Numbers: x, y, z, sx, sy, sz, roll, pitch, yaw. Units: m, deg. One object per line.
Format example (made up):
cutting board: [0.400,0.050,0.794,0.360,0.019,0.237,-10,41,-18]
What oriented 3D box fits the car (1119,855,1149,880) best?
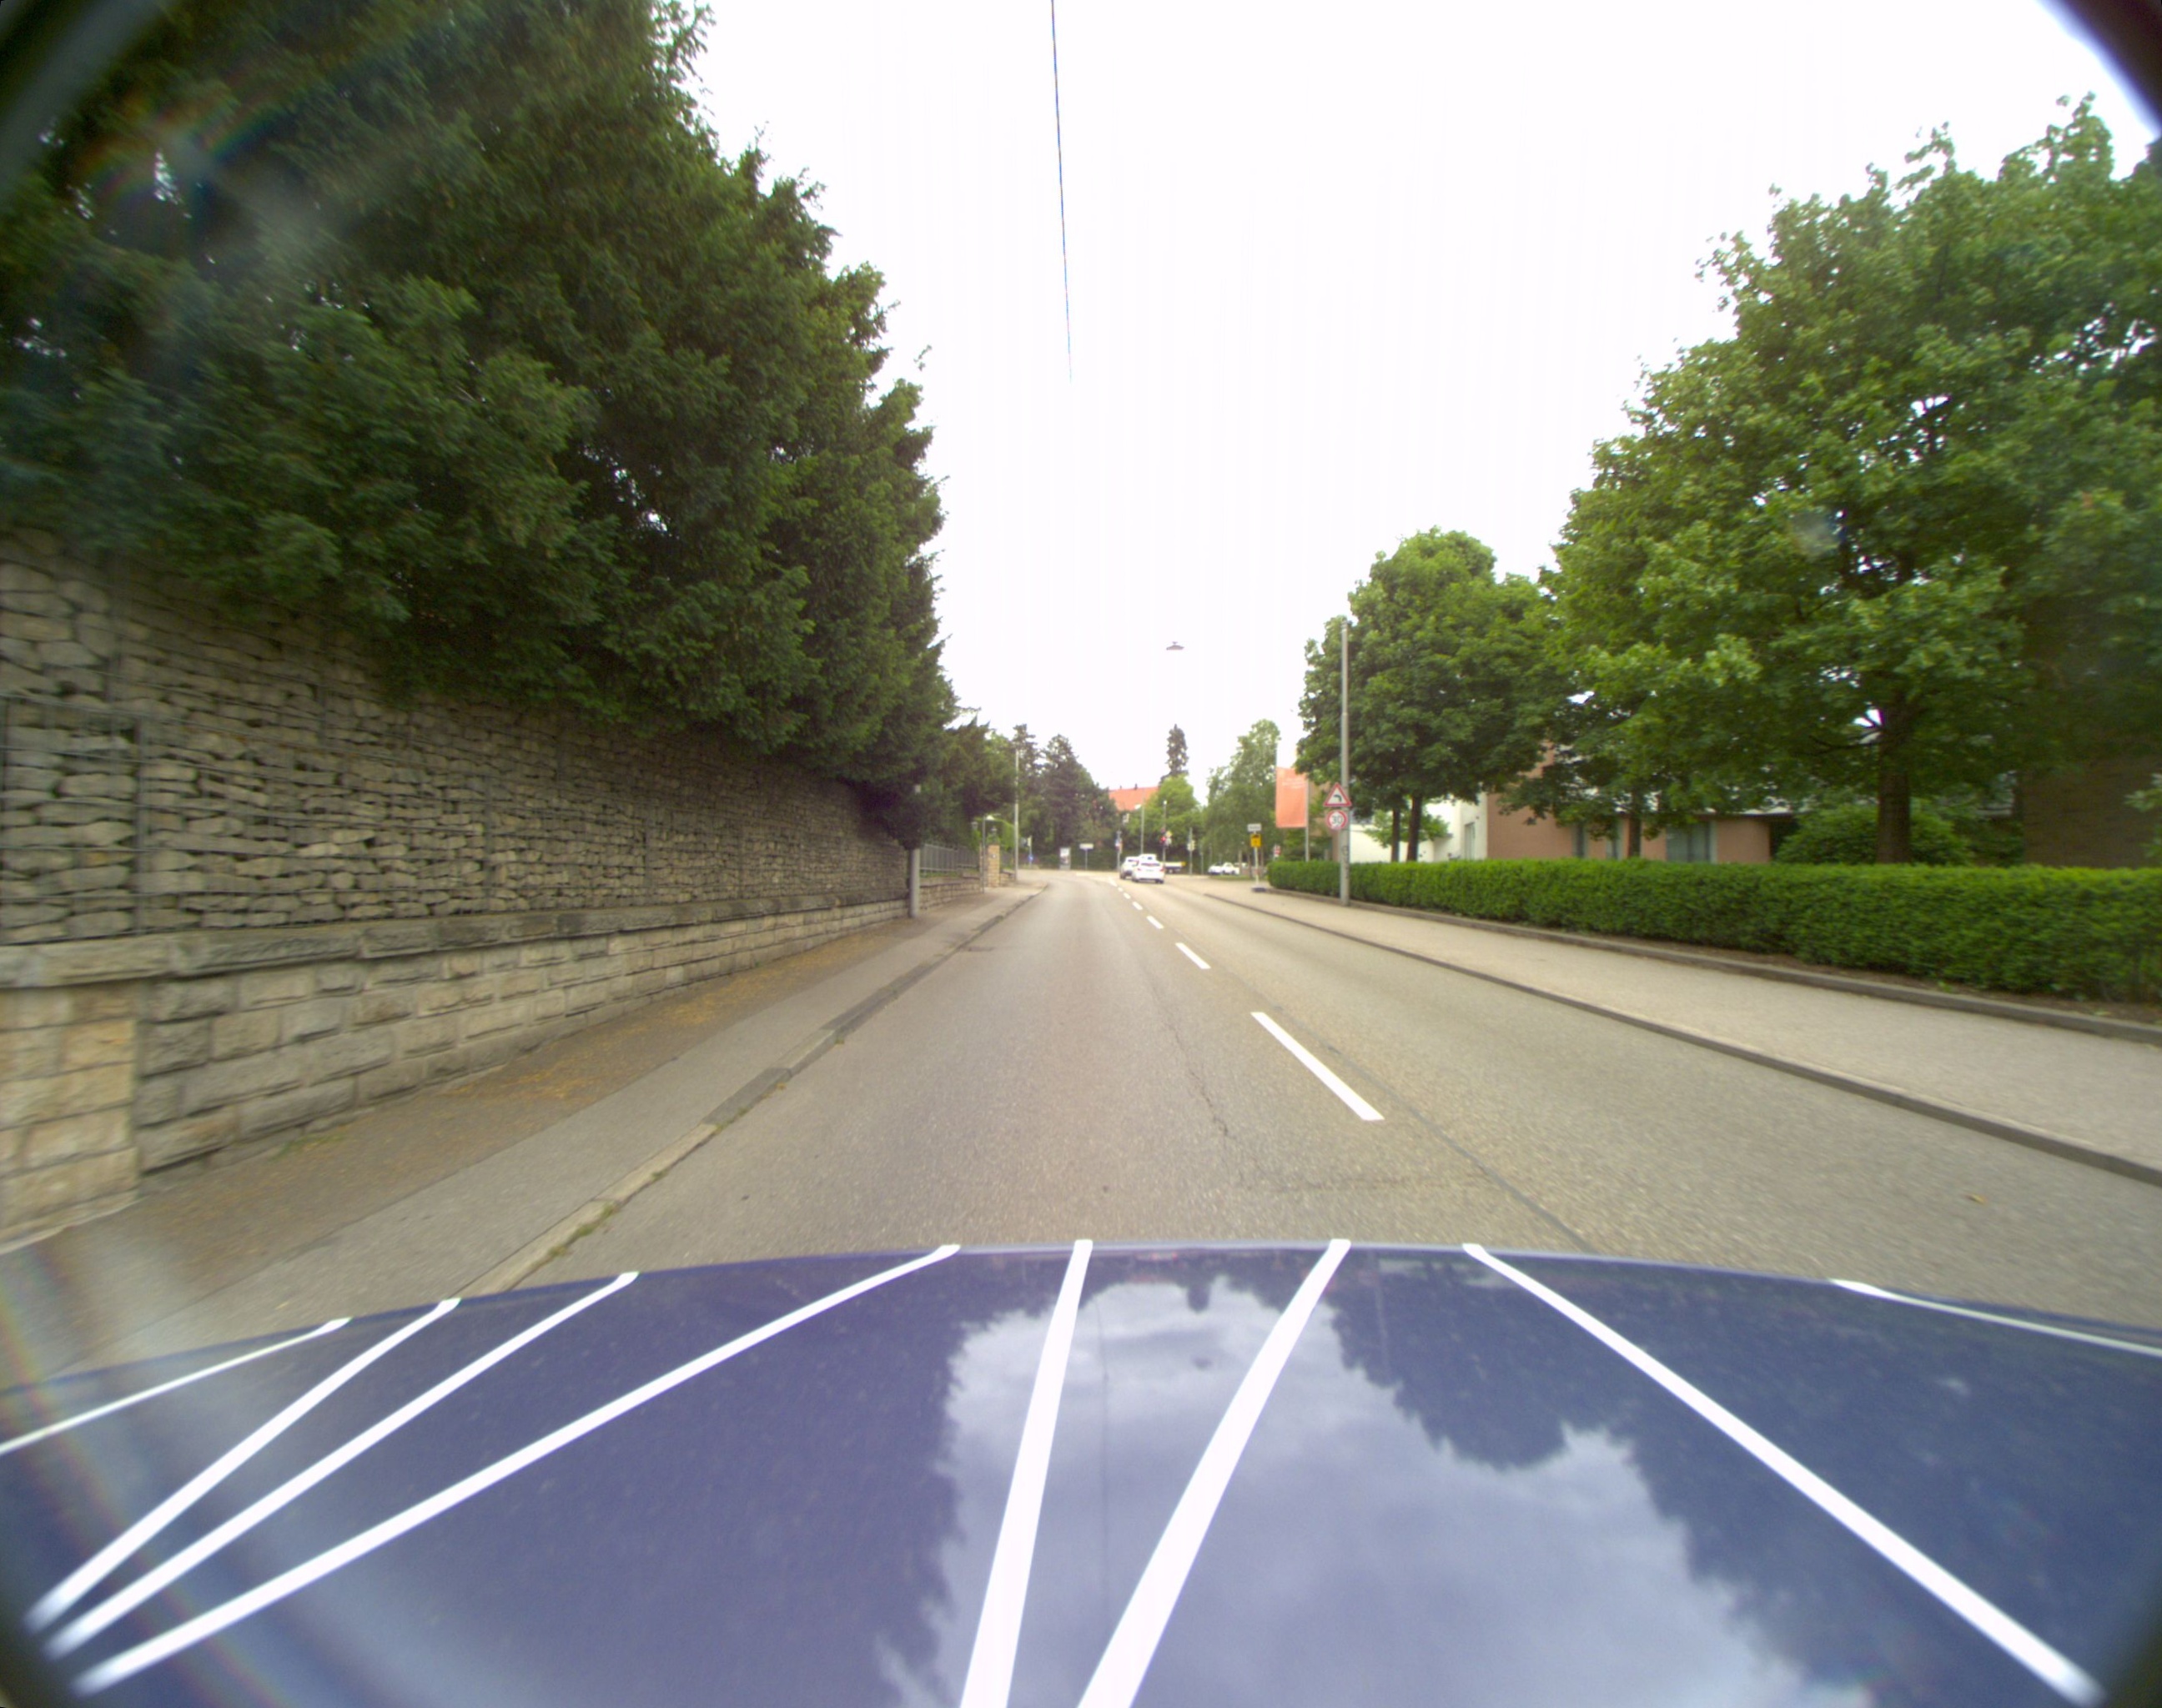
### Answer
car: [3.782,0.943,54.908,1.773,1.628,4.301,4,0,0]

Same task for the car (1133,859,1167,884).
car: [4.344,1.062,48.271,1.771,1.413,4.065,3,0,0]

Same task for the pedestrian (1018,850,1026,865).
pedestrian: [-7.273,0.443,93.210,0.665,1.777,0.614,2,0,28]

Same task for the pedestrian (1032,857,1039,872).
pedestrian: [-5.544,1.255,92.487,0.611,1.824,0.605,2,0,27]

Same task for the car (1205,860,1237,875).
car: [16.487,1.582,89.204,1.994,1.603,4.010,2,0,39]

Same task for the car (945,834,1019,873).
car: [-5.616,-0.039,43.412,3.750,1.603,1.814,9,0,-1]

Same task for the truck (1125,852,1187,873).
truck: [8.591,0.958,86.758,6.706,2.176,2.532,2,0,11]
